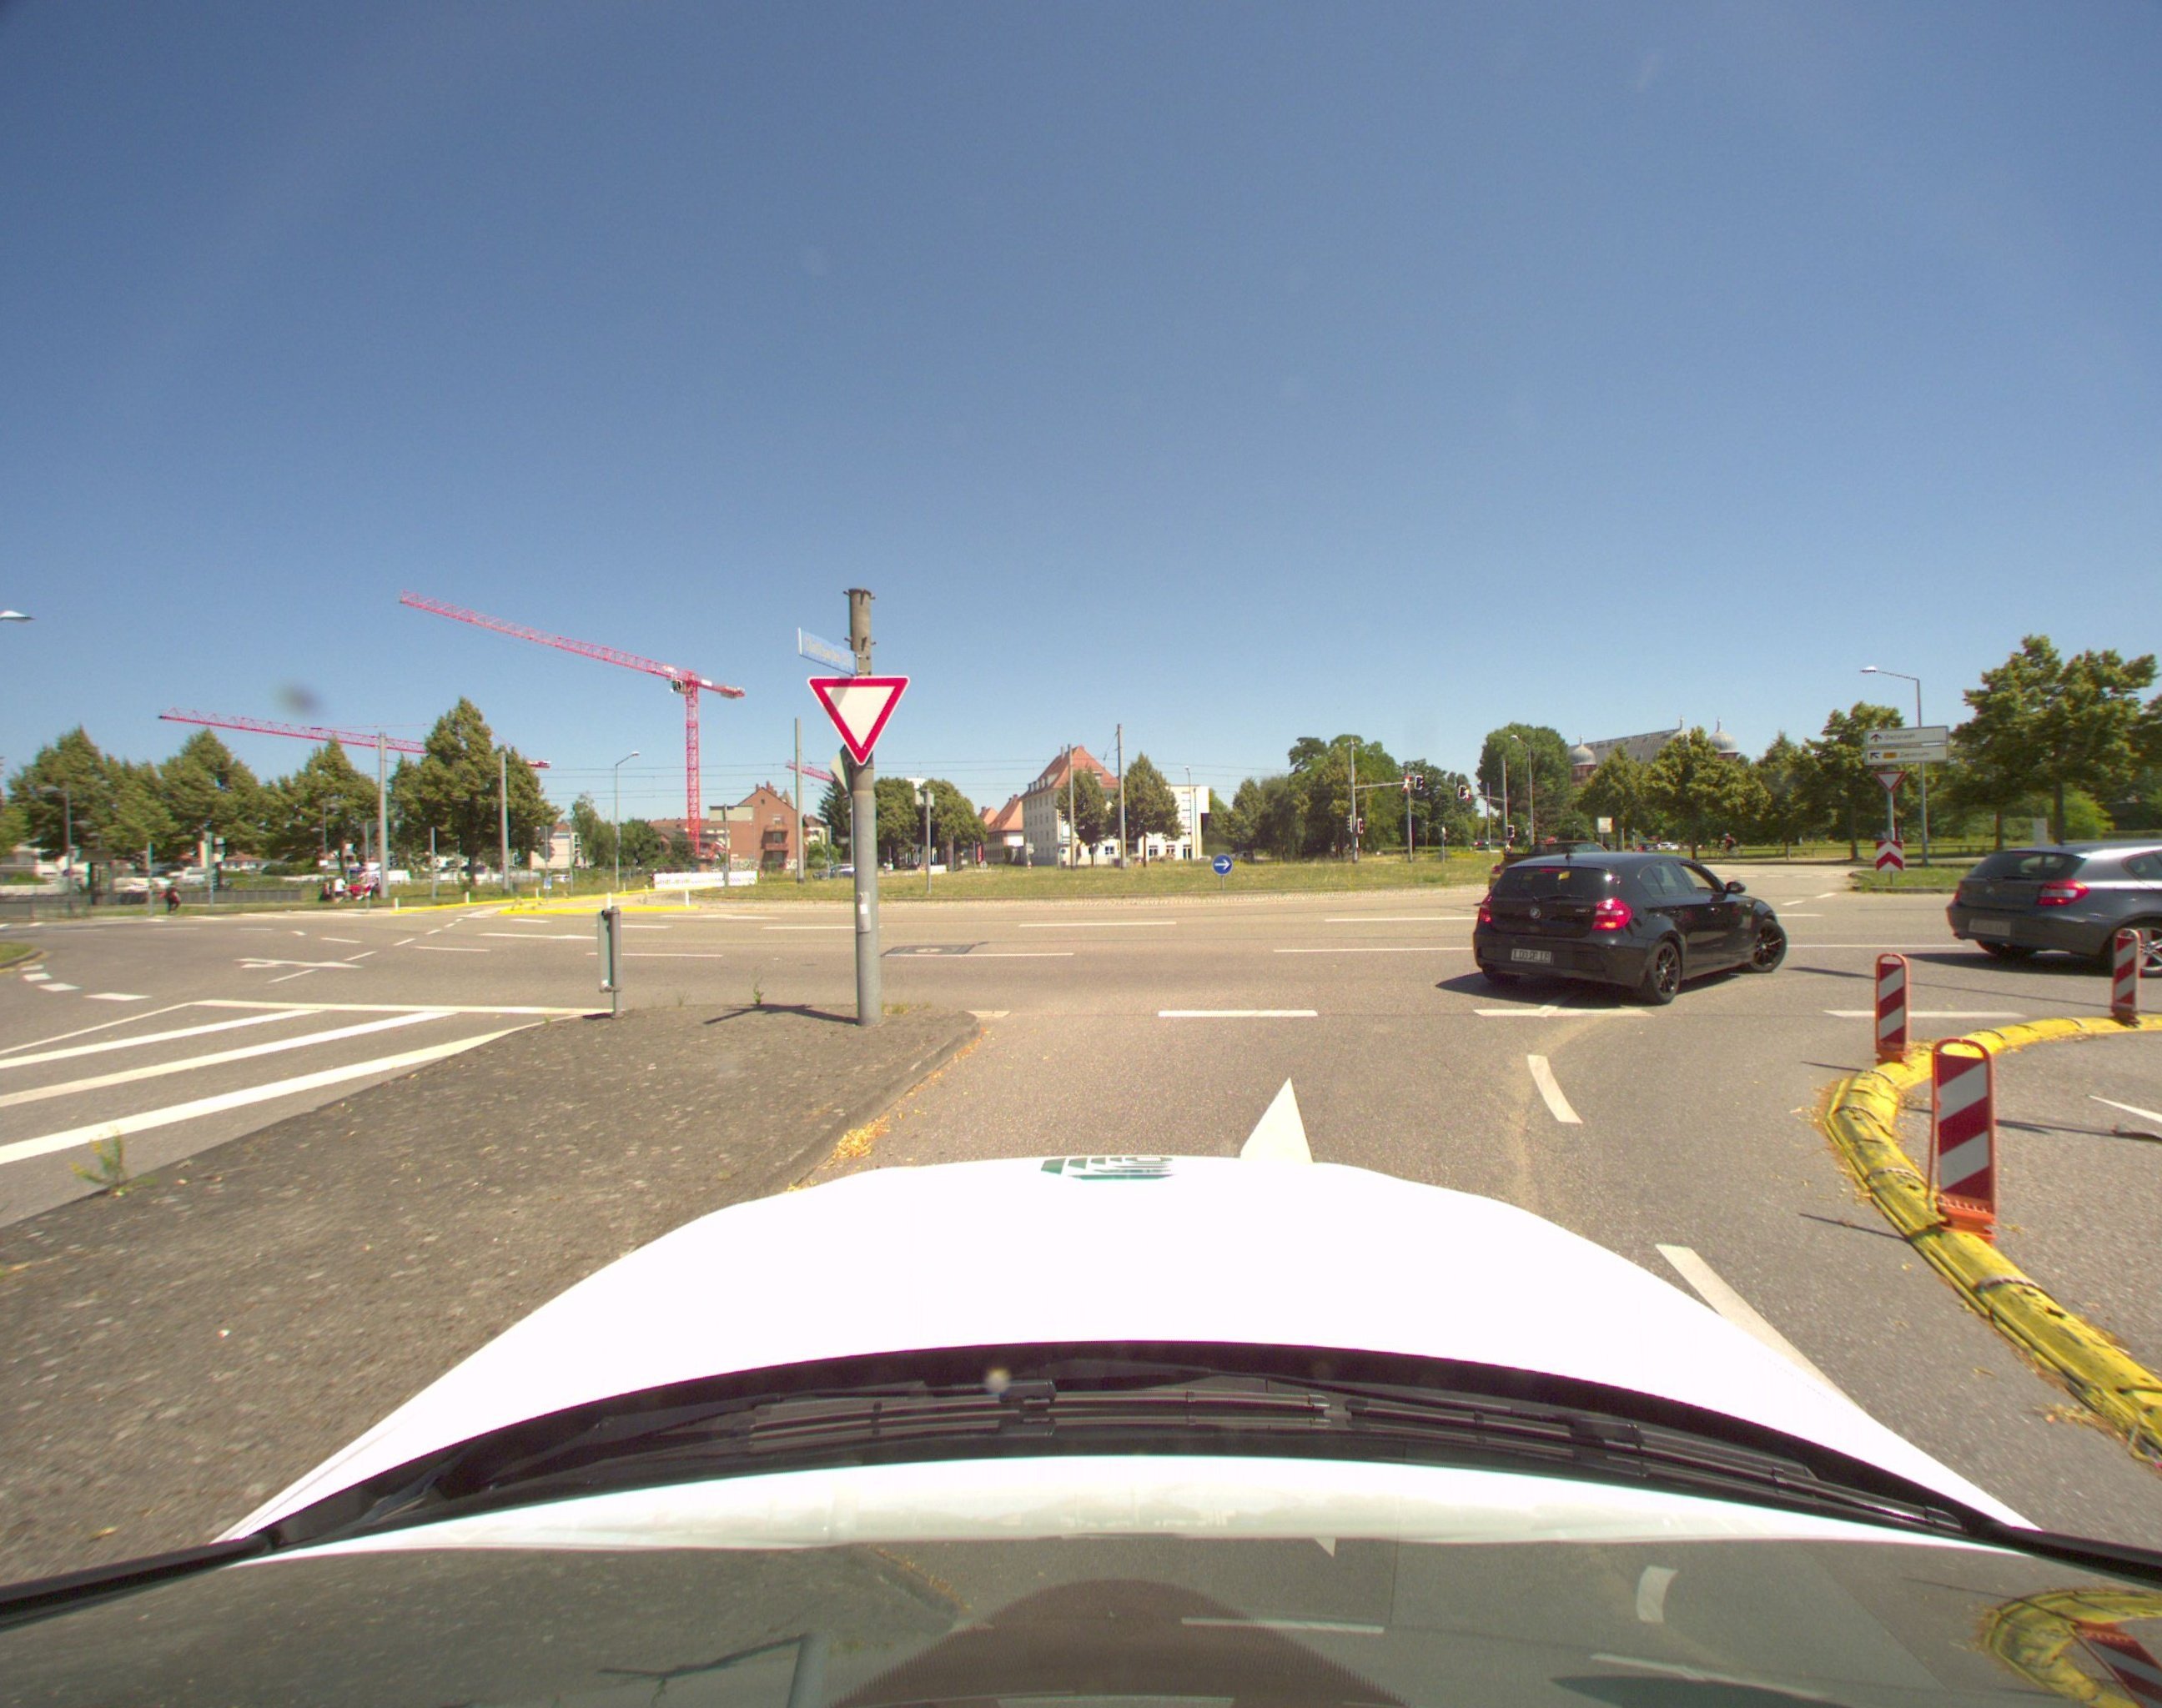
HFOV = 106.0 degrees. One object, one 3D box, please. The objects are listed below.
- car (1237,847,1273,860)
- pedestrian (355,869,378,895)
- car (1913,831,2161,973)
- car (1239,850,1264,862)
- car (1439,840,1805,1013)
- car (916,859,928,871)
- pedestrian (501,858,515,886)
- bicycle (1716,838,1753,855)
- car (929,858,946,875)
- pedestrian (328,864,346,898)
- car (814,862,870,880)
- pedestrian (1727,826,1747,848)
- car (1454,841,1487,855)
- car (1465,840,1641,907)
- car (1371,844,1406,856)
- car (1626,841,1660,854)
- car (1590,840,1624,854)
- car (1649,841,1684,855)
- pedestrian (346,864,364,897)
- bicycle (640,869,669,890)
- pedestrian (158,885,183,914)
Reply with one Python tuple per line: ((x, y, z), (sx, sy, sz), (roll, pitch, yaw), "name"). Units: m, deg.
((21.804, -0.062, 102.202), (3.988, 1.684, 1.993), (0, -1, -11), "car")
((-45.025, 1.776, 51.354), (0.773, 1.640, 0.764), (0, -1, 14), "pedestrian")
((12.191, 0.462, 8.910), (4.040, 1.403, 1.759), (-2, 1, 11), "car")
((29.285, 0.346, 139.757), (3.956, 2.014, 2.009), (0, -1, 17), "car")
((5.944, 0.606, 8.854), (4.013, 1.440, 1.785), (-2, 1, -31), "car")
((-26.958, 1.891, 138.082), (1.994, 2.014, 3.985), (0, -1, -11), "car")
((-41.866, 1.328, 59.510), (0.599, 2.014, 0.595), (0, -1, 2), "pedestrian")
((45.813, -0.526, 57.129), (0.727, 1.115, 2.052), (0, -1, -8), "bicycle")
((-17.240, 1.498, 97.565), (1.994, 2.014, 3.985), (0, -1, -11), "car")
((-43.142, 1.584, 47.226), (0.631, 1.934, 0.640), (-2, 0, -32), "pedestrian")
((-19.398, 1.372, 66.058), (4.010, 1.464, 1.981), (0, -1, -29), "car")
((45.845, -1.187, 56.894), (0.707, 1.451, 0.816), (0, -1, -9), "pedestrian")
((55.627, -0.839, 116.292), (3.949, 2.014, 2.012), (0, -1, 41), "car")
((10.826, 0.406, 18.676), (3.670, 1.403, 1.815), (0, 0, -27), "car")
((41.301, -0.521, 109.278), (3.948, 1.574, 2.013), (0, -1, 38), "car")
((85.567, -0.955, 124.010), (3.949, 2.014, 2.012), (0, -1, 41), "car")
((78.034, -1.002, 120.795), (3.949, 2.014, 2.012), (0, -1, 41), "car")
((90.491, -0.927, 125.883), (2.011, 2.014, 3.952), (1, -1, -42), "car")
((-42.721, 1.562, 47.923), (0.631, 1.934, 0.640), (-2, 0, -32), "pedestrian")
((-35.548, 2.089, 67.879), (0.553, 1.684, 2.099), (-1, -1, 37), "bicycle")
((-45.199, 2.260, 40.432), (0.539, 1.406, 0.598), (-2, 0, 5), "pedestrian")
